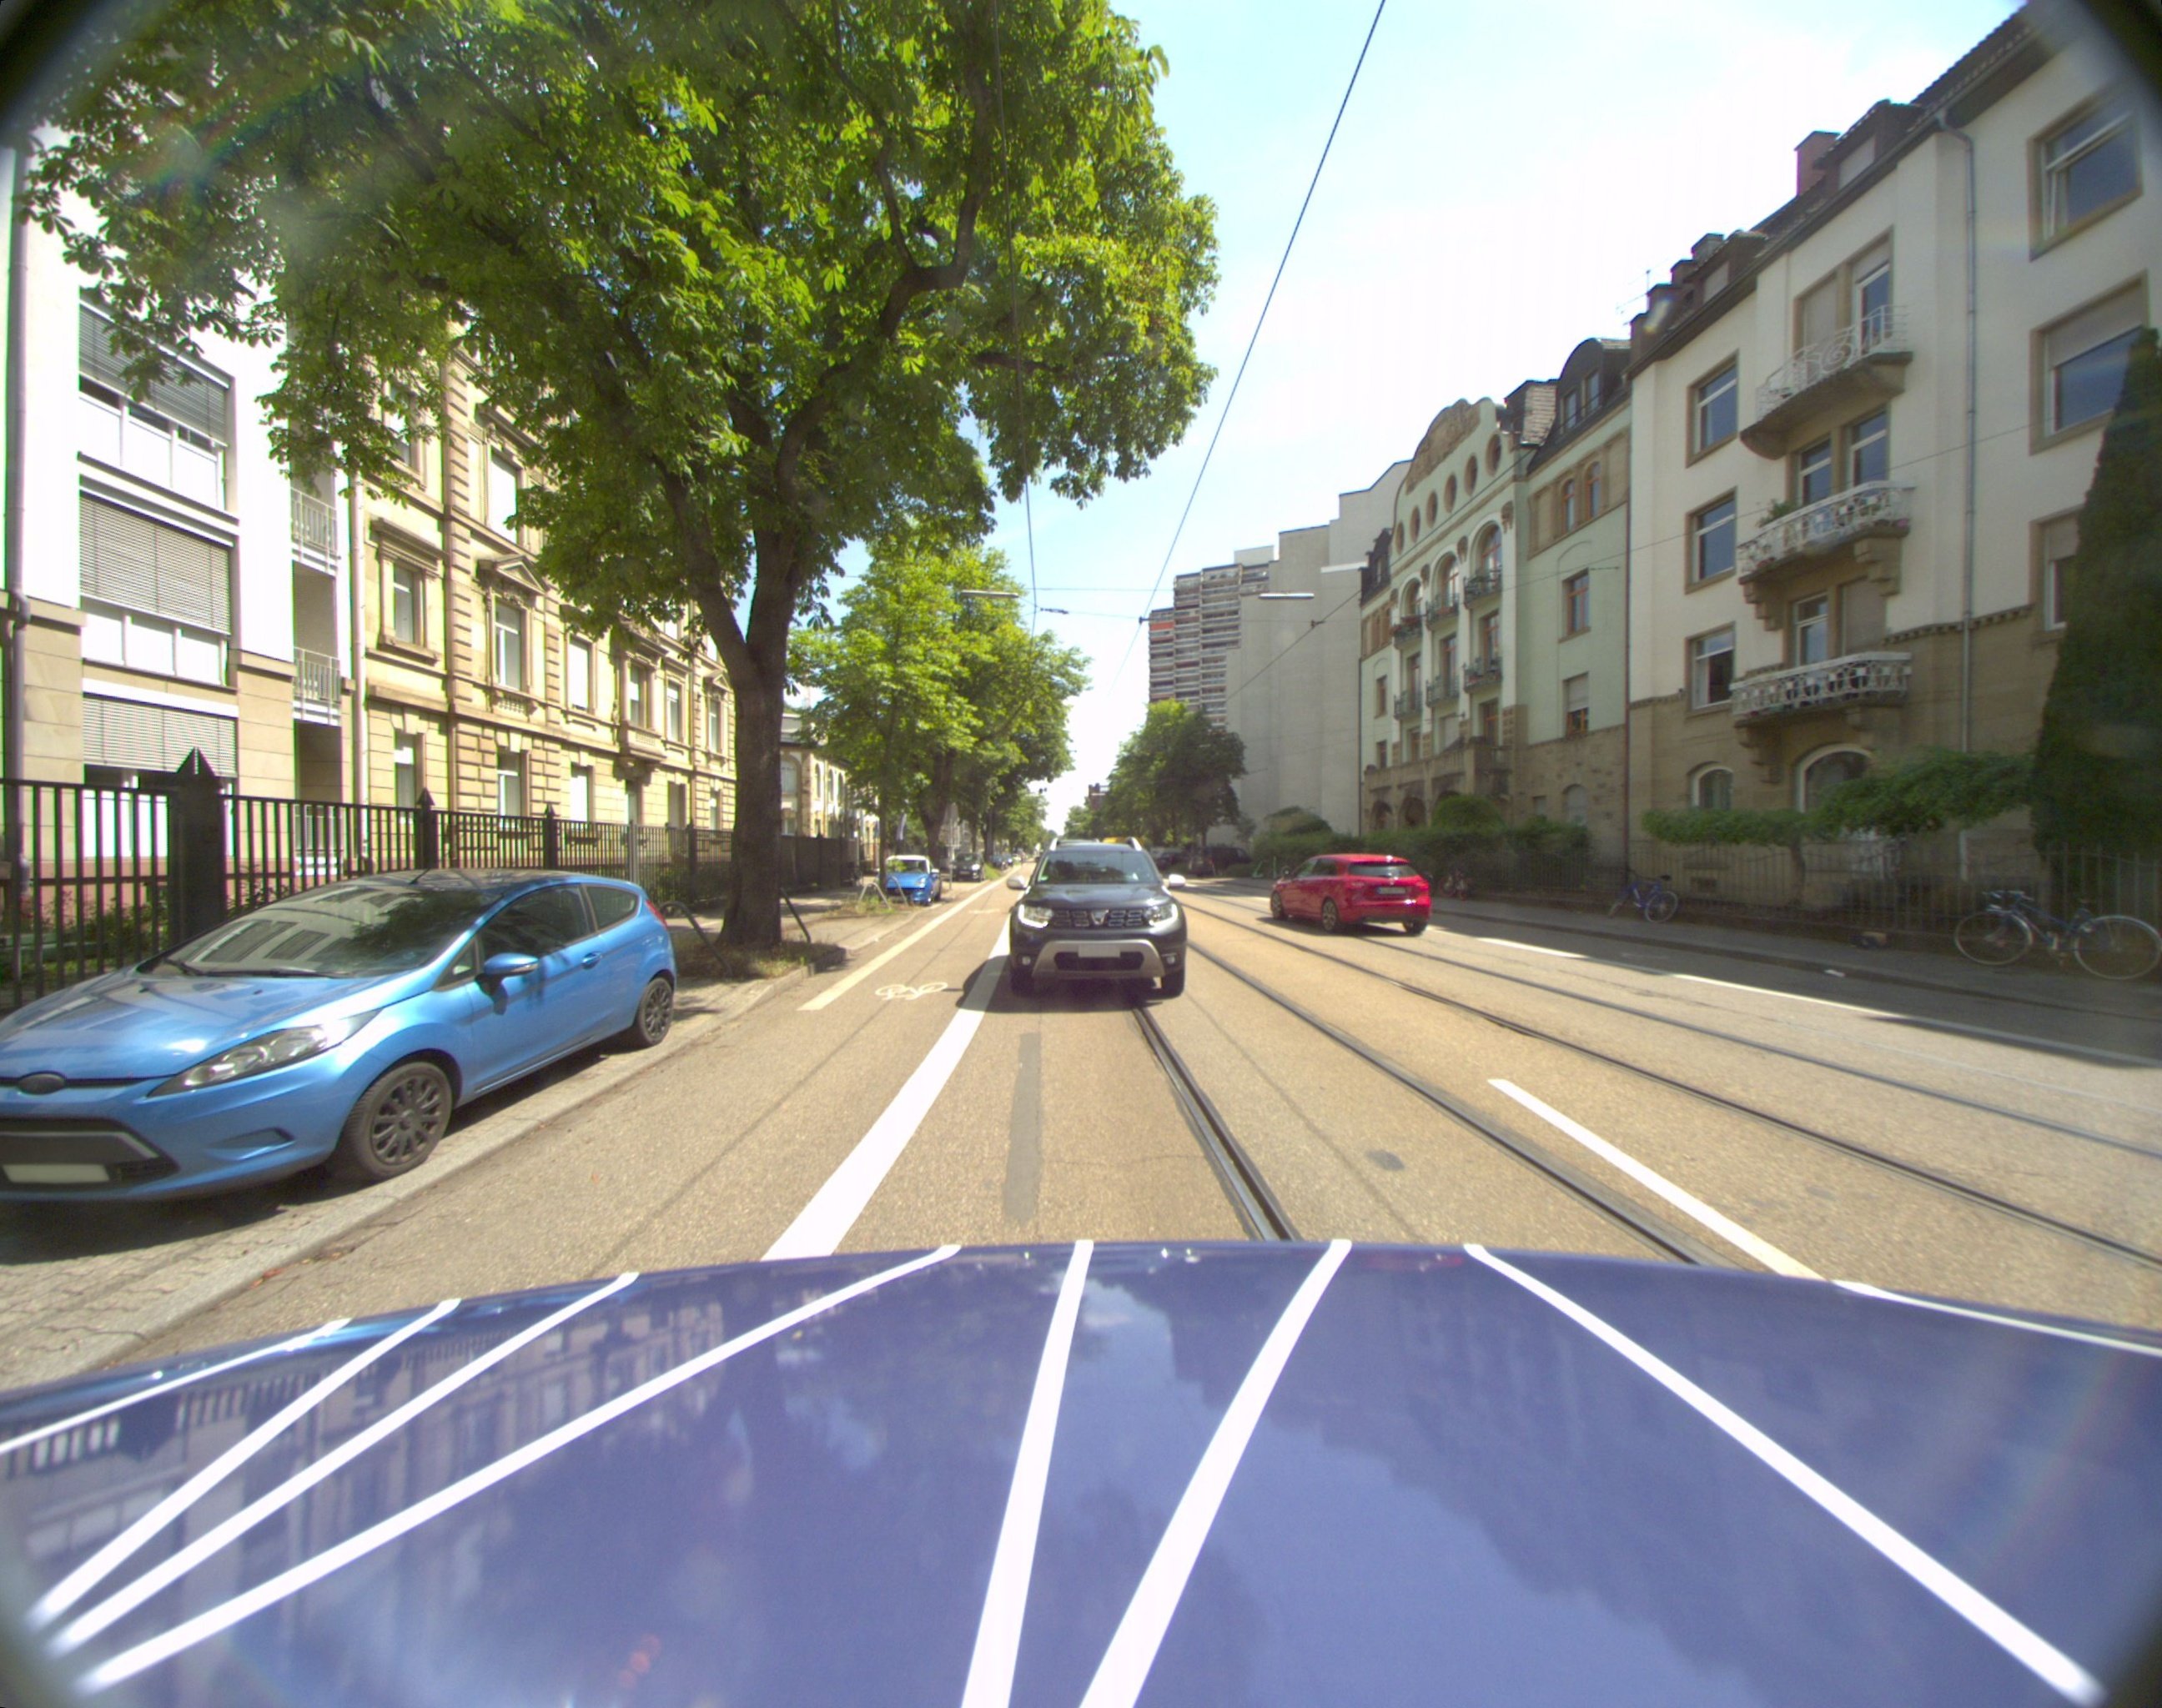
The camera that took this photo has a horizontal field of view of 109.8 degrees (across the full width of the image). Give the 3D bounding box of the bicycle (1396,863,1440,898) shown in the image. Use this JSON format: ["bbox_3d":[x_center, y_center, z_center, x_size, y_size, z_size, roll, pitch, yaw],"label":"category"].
[{"bbox_3d":[10.367,0.799,23.432,0.465,0.993,1.707,-4,1,-3],"label":"bicycle"}]

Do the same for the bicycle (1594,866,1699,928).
[{"bbox_3d":[11.036,0.808,14.896,0.609,1.058,1.771,-4,1,-3],"label":"bicycle"}]

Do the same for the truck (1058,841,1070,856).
[{"bbox_3d":[-4.113,-1.411,188.028,2.792,3.598,8.255,0,0,0],"label":"truck"}]

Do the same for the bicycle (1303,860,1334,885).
[{"bbox_3d":[9.976,0.766,32.023,0.609,0.970,1.771,-4,0,-3],"label":"bicycle"}]

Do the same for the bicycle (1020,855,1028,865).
[{"bbox_3d":[-6.102,0.641,81.480,0.812,1.089,2.173,0,1,-5],"label":"bicycle"}]

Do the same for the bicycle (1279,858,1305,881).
[{"bbox_3d":[9.921,0.731,35.790,0.609,0.983,1.707,-4,1,-3],"label":"bicycle"}]

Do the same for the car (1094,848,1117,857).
[{"bbox_3d":[4.883,-0.360,153.796,4.338,1.797,1.995,0,1,-35],"label":"car"}]

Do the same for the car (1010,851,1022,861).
[{"bbox_3d":[-10.051,0.287,117.281,1.626,1.395,3.998,2,0,-3],"label":"car"}]

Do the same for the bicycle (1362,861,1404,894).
[{"bbox_3d":[10.395,0.797,26.196,0.609,1.026,1.771,-4,1,-3],"label":"bicycle"}]

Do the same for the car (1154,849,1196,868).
[{"bbox_3d":[8.092,0.368,65.115,1.677,1.566,3.692,2,2,45],"label":"car"}]

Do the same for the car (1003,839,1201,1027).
[{"bbox_3d":[0.103,0.700,9.020,1.753,1.641,4.296,-2,0,-3],"label":"car"}]

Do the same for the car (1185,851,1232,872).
[{"bbox_3d":[9.353,0.539,55.666,1.721,1.445,3.635,0,1,41],"label":"car"}]

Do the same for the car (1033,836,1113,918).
[{"bbox_3d":[-0.252,0.523,19.682,1.753,1.806,4.307,-3,1,-2],"label":"car"}]

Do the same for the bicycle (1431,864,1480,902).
[{"bbox_3d":[10.631,0.804,21.601,0.414,0.960,1.725,-4,1,-3],"label":"bicycle"}]

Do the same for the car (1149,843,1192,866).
[{"bbox_3d":[8.124,0.037,68.614,4.061,2.030,1.597,-1,1,-43],"label":"car"}]

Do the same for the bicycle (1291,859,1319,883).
[{"bbox_3d":[9.973,0.738,33.912,0.609,0.983,1.707,-4,1,-3],"label":"bicycle"}]

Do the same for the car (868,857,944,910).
[{"bbox_3d":[-5.225,0.840,23.074,1.696,1.444,3.472,0,0,-4],"label":"car"}]

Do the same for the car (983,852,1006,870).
[{"bbox_3d":[-7.260,0.551,64.200,1.626,1.395,3.821,2,0,-3],"label":"car"}]

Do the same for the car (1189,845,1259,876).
[{"bbox_3d":[9.249,0.369,48.981,4.596,1.914,1.956,0,1,-40],"label":"car"}]

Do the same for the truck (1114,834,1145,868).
[{"bbox_3d":[4.353,-0.291,69.114,2.307,2.903,6.513,0,0,-2],"label":"truck"}]

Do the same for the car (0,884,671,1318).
[{"bbox_3d":[-4.262,0.987,4.642,1.682,1.435,3.719,0,0,-4],"label":"car"}]

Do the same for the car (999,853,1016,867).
[{"bbox_3d":[-8.021,0.671,83.378,1.626,1.395,3.998,2,0,-3],"label":"car"}]

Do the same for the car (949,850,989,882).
[{"bbox_3d":[-6.098,0.639,41.901,1.734,1.607,4.082,2,0,-3],"label":"car"}]

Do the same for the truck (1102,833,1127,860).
[{"bbox_3d":[5.561,-1.239,123.732,2.673,4.156,10.481,0,0,11],"label":"truck"}]

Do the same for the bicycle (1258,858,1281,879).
[{"bbox_3d":[9.711,0.739,39.197,0.609,0.983,1.707,-4,1,-3],"label":"bicycle"}]

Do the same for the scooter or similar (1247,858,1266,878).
[{"bbox_3d":[9.512,0.745,41.183,0.407,1.014,1.222,0,1,-19],"label":"scooter or similar"}]

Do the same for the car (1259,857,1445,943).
[{"bbox_3d":[5.170,0.799,15.241,1.828,1.405,4.426,1,0,-5],"label":"car"}]

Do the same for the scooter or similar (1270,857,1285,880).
[{"bbox_3d":[9.711,0.690,37.603,0.407,1.113,1.290,-1,1,-1],"label":"scooter or similar"}]

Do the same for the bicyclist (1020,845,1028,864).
[{"bbox_3d":[-6.130,0.088,81.421,0.773,2.002,0.807,0,1,-6],"label":"bicyclist"}]

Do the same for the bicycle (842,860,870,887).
[{"bbox_3d":[-9.457,0.799,32.018,0.609,1.065,1.980,0,0,-1],"label":"bicycle"}]

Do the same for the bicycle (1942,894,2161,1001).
[{"bbox_3d":[11.308,1.019,8.843,0.411,0.955,1.840,-4,2,-3],"label":"bicycle"}]
